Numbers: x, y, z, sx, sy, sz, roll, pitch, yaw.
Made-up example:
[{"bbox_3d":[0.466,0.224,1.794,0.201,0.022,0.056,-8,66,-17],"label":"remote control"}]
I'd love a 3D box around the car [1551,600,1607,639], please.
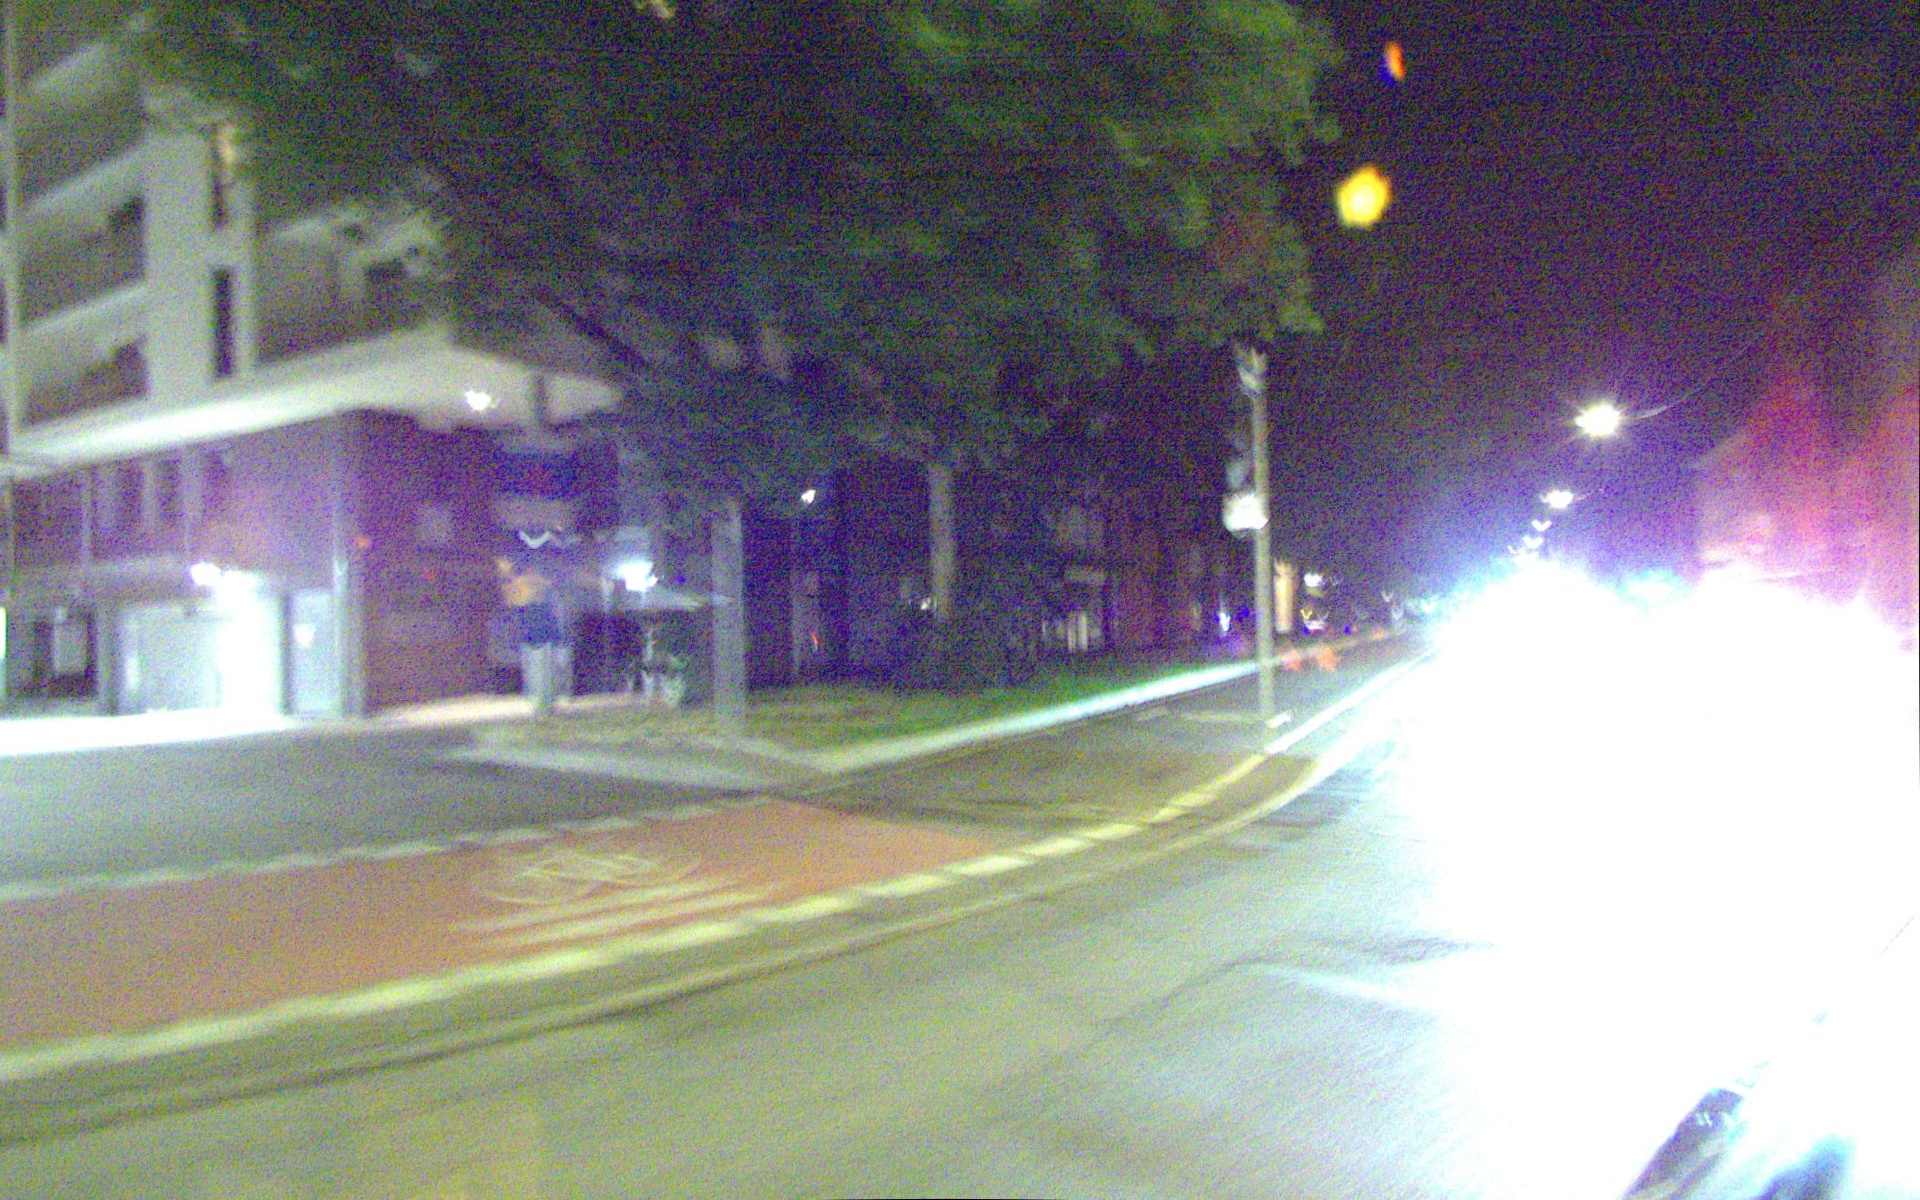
[{"bbox_3d":[25.684,0.786,42.078,1.714,1.481,3.961,-1,0,28],"label":"car"}]

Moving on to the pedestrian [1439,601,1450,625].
[{"bbox_3d":[34.503,0.922,72.112,0.617,1.660,0.672,-1,-1,29],"label":"pedestrian"}]

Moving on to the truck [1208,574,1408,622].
[{"bbox_3d":[30.981,-0.084,90.805,16.683,4.034,3.100,-1,0,30],"label":"truck"}]

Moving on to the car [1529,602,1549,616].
[{"bbox_3d":[68.907,1.075,120.400,1.984,1.656,3.954,-1,-1,32],"label":"car"}]

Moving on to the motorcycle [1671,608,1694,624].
[{"bbox_3d":[52.723,1.158,73.894,0.564,1.195,2.025,-1,-1,12],"label":"motorcycle"}]

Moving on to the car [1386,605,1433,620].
[{"bbox_3d":[44.362,1.227,99.872,4.057,1.473,1.769,-1,0,29],"label":"car"}]

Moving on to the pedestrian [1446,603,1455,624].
[{"bbox_3d":[35.476,0.975,73.185,0.569,1.553,0.627,-1,-1,29],"label":"pedestrian"}]

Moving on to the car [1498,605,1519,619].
[{"bbox_3d":[54.123,1.171,99.904,1.607,1.283,3.586,-3,-1,32],"label":"car"}]

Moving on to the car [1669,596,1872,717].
[{"bbox_3d":[11.213,0.696,14.264,1.621,1.457,3.799,-2,-1,30],"label":"car"}]

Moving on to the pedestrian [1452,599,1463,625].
[{"bbox_3d":[35.418,0.857,72.070,0.618,1.834,0.751,-1,-1,29],"label":"pedestrian"}]

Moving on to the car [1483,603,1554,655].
[{"bbox_3d":[17.133,0.859,31.099,1.714,1.448,4.452,-3,-1,29],"label":"car"}]
